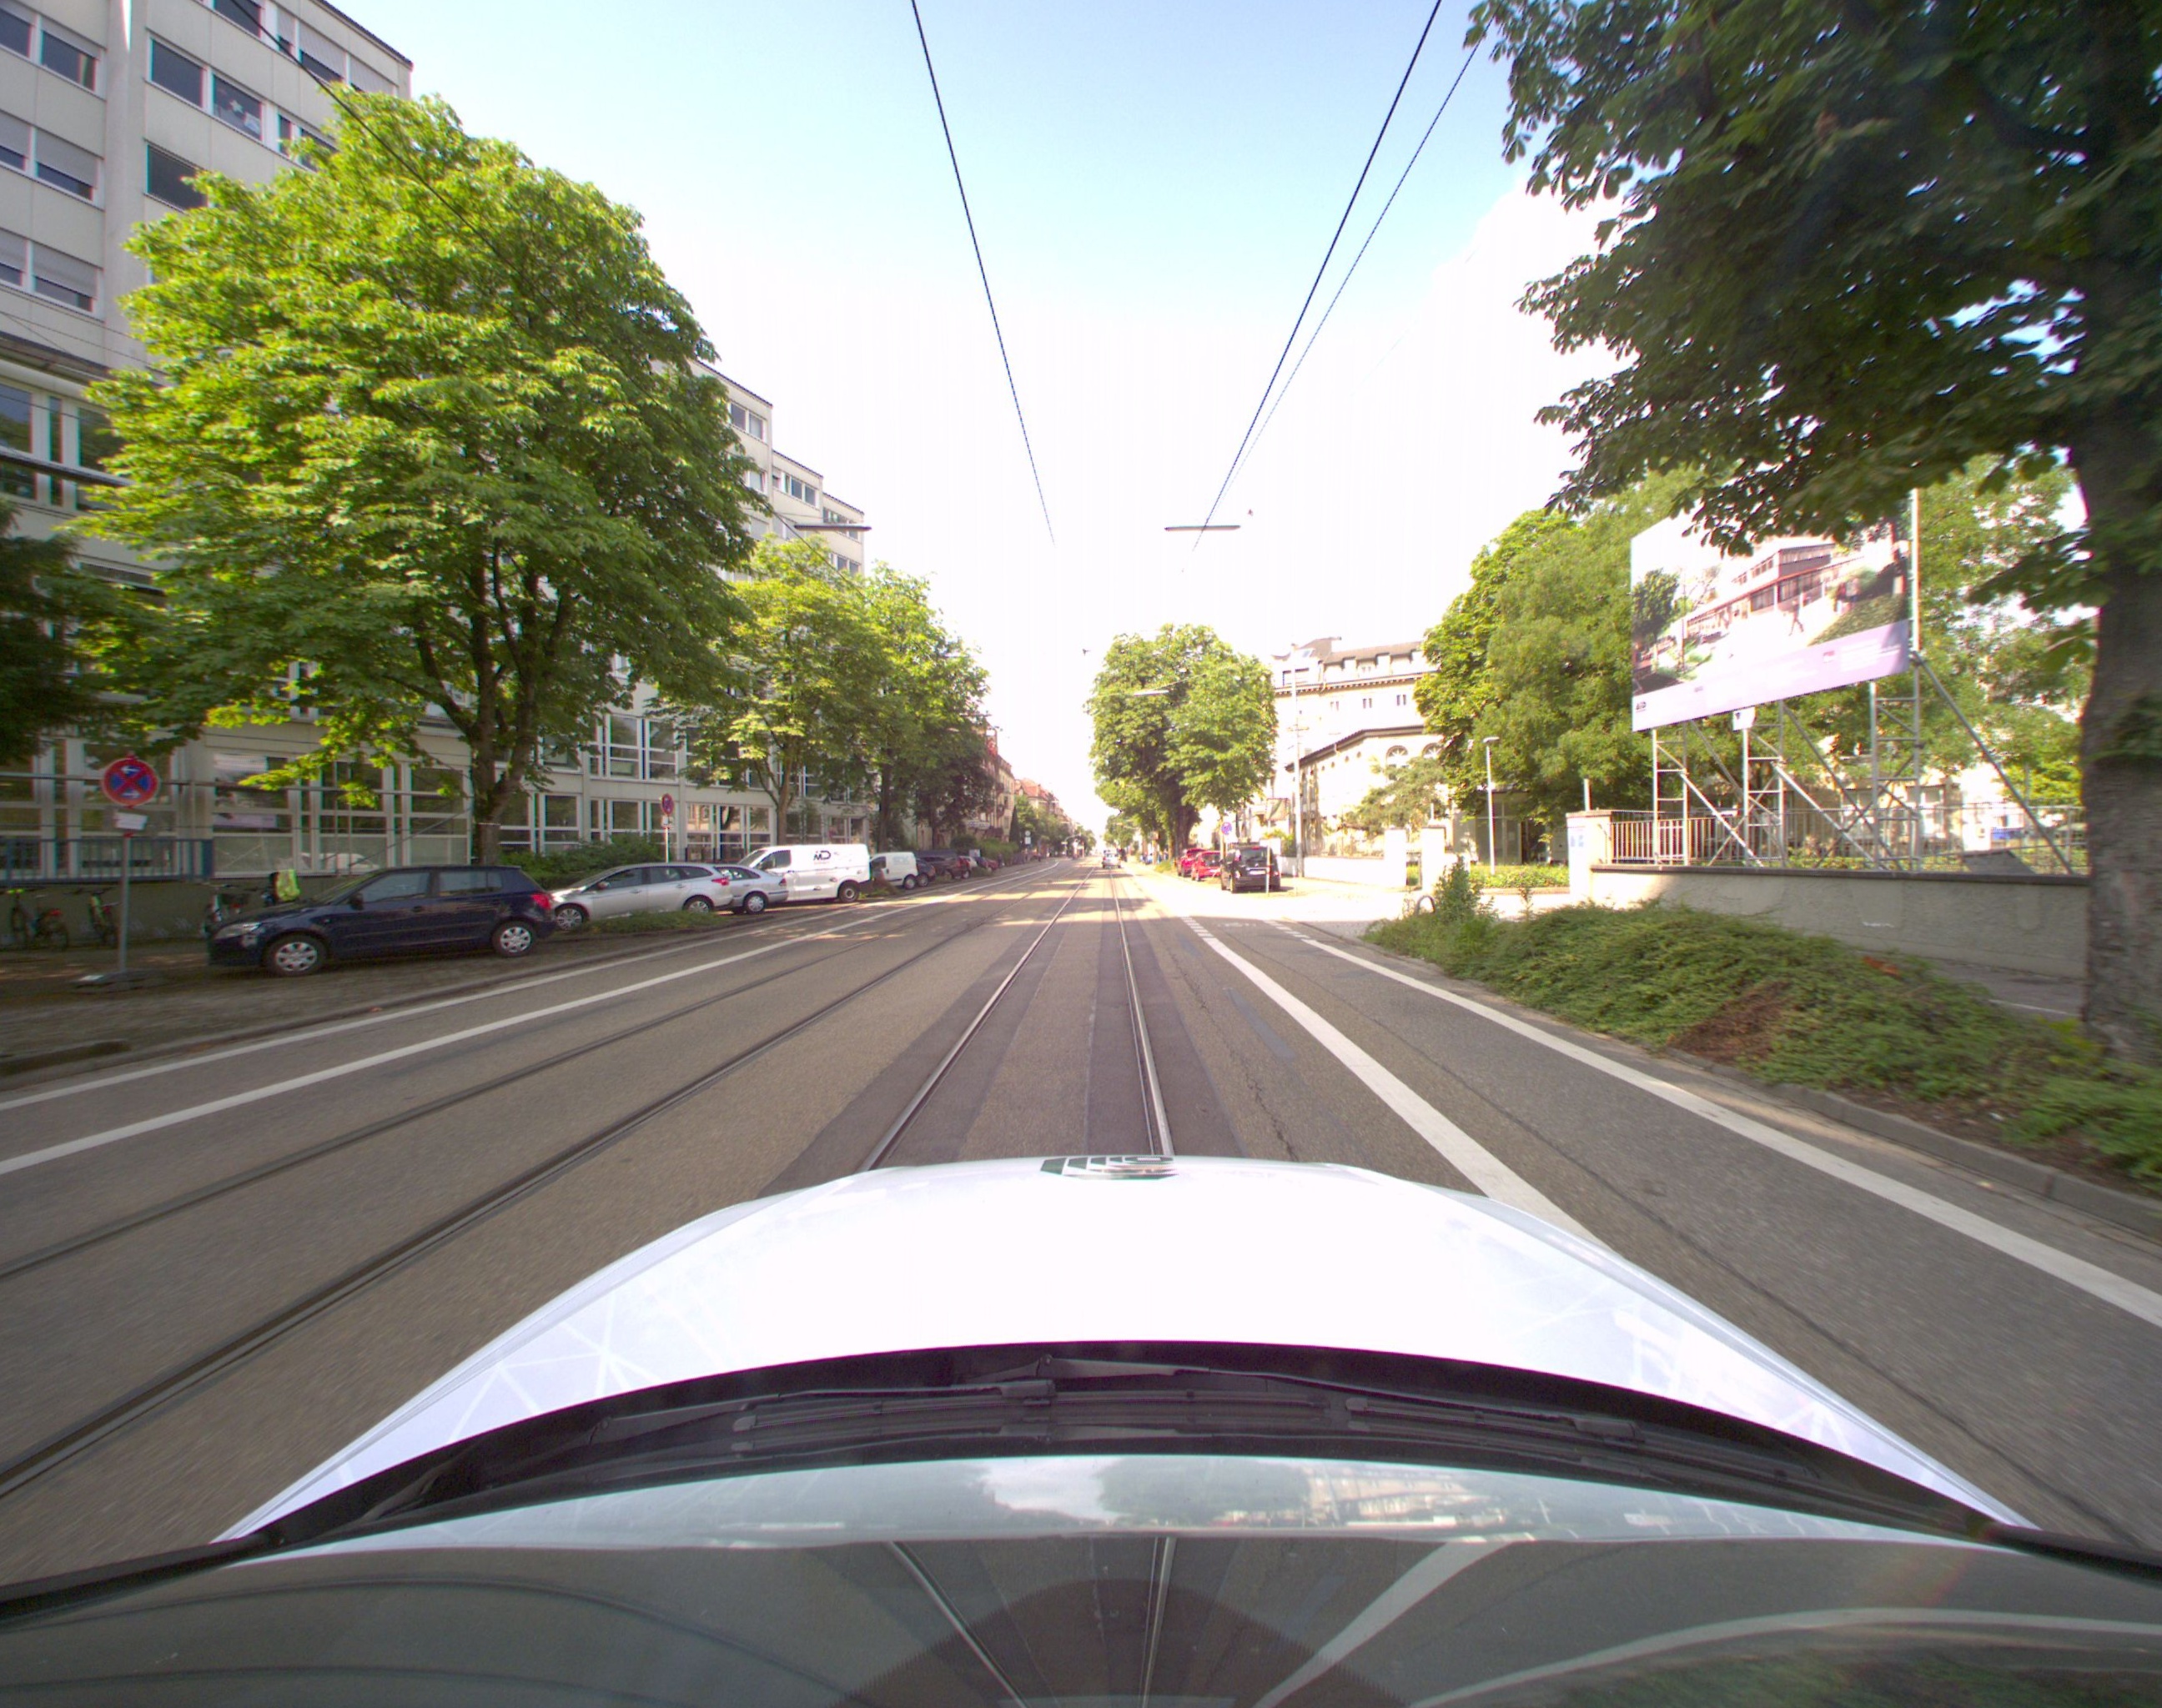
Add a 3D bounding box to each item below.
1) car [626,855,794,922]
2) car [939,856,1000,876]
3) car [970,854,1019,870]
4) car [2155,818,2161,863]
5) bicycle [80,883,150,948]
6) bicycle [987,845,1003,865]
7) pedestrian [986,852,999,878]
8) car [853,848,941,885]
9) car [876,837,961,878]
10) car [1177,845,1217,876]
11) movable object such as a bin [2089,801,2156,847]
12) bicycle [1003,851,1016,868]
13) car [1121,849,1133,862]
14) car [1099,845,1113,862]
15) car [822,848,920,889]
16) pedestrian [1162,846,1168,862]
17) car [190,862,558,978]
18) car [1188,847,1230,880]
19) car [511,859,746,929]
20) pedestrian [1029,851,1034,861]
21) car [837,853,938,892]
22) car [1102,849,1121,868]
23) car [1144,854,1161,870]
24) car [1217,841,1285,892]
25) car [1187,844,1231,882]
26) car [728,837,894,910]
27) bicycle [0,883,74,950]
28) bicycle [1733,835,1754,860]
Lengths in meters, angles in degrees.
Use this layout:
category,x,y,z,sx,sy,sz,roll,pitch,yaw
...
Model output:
category,x,y,z,sx,sy,sz,roll,pitch,yaw
car,-10.080,0.890,22.274,3.805,1.475,1.705,-4,1,-42
car,-7.653,0.817,55.998,3.804,1.306,1.620,0,-1,-37
car,-7.270,0.701,68.618,3.804,1.306,1.620,0,-1,-37
car,49.365,-0.733,34.043,4.891,1.965,2.012,-3,-4,31
bicycle,-17.562,1.085,14.791,2.030,1.087,0.500,-1,-1,31
bicycle,-8.213,0.100,77.933,0.933,1.918,2.504,0,0,8
pedestrian,-7.163,0.862,65.798,0.730,2.013,0.825,-4,-1,5
car,-8.888,0.585,39.459,3.780,1.712,1.860,0,-1,-44
car,-9.085,0.227,45.665,4.228,2.081,1.861,4,-1,-44
car,6.738,0.389,47.634,1.952,1.706,4.003,0,0,3
movable object such as a bin,34.205,-0.973,26.771,0.869,1.451,1.241,-1,-1,23
bicycle,-7.653,0.583,87.539,0.933,1.746,2.289,0,0,8
car,6.612,0.198,116.760,1.615,1.849,3.566,0,0,2
car,3.006,-0.068,96.759,1.615,2.000,3.566,0,0,2
car,-9.252,0.632,35.996,3.780,1.712,1.860,0,-1,-44
pedestrian,10.525,0.052,101.946,0.757,2.014,0.765,0,-1,3
car,-10.493,0.862,12.444,4.021,1.462,1.739,0,-1,-41
car,6.333,0.457,40.513,1.661,1.486,3.281,-2,0,2
car,-10.401,0.840,18.968,1.718,1.426,4.488,-2,-1,44
pedestrian,-9.960,0.375,162.797,0.884,2.014,0.786,0,-1,-7
car,-7.912,0.743,33.421,1.740,1.501,3.658,-2,-1,43
car,2.766,0.439,73.904,1.615,1.684,3.566,0,0,2
car,7.893,0.890,89.987,1.615,1.684,3.566,0,0,2
car,5.962,0.401,28.942,1.668,1.611,3.586,-3,1,1
car,6.311,0.421,40.487,1.668,1.611,3.586,-3,2,1
car,-8.709,0.577,26.504,4.667,1.912,1.910,-5,2,-40
bicycle,-18.308,1.065,14.216,2.030,1.087,0.500,0,-1,27
bicycle,29.741,-0.269,36.565,0.414,1.056,2.080,-5,-3,33
